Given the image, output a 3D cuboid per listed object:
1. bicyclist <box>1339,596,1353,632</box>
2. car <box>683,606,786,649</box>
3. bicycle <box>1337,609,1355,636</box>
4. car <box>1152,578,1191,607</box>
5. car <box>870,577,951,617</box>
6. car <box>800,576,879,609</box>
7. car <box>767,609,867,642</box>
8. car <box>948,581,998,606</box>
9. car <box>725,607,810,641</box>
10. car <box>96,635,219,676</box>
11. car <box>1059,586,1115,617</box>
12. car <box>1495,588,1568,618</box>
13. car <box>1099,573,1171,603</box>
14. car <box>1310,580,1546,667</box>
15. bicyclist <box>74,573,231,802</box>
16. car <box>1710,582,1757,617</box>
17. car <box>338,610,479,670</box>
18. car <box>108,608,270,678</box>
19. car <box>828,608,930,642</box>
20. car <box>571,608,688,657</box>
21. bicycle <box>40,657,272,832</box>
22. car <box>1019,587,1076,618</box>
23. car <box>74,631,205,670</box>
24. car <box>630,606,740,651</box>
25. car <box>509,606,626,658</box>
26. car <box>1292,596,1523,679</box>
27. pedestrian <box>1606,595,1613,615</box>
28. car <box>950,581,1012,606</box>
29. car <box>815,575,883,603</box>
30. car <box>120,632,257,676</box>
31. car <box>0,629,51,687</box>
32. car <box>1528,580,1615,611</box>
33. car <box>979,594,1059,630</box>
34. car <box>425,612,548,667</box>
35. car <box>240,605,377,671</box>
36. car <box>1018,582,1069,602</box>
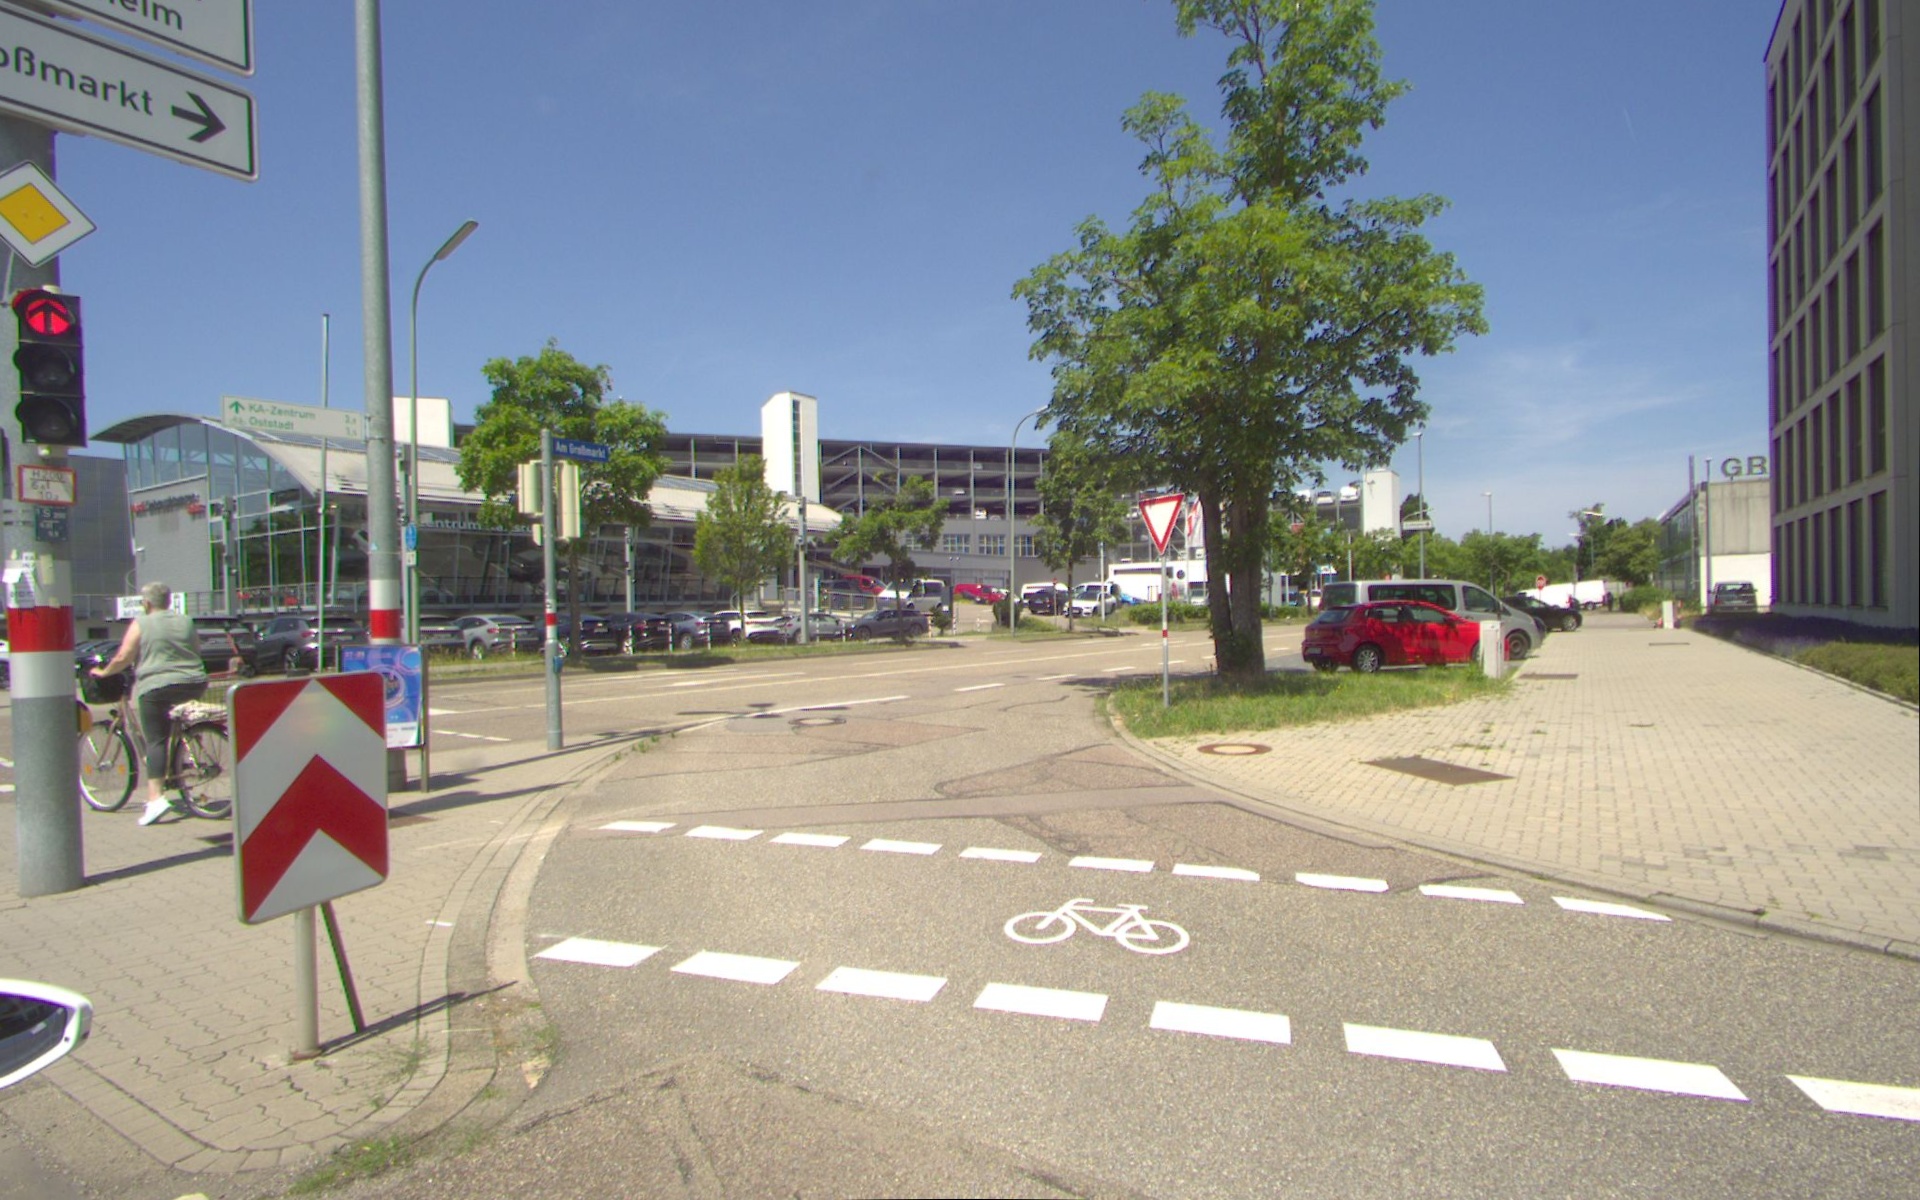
[{"bbox_3d":[16.114,0.576,41.778,0.449,1.490,0.714,-1,1,29],"label":"bicyclist"},{"bbox_3d":[-9.281,1.177,41.181,3.937,1.675,1.844,-1,-3,28],"label":"car"},{"bbox_3d":[16.152,0.948,41.845,0.462,1.079,1.782,-1,0,29],"label":"bicycle"},{"bbox_3d":[16.435,-0.545,77.710,1.812,2.039,3.981,-1,-2,31],"label":"car"},{"bbox_3d":[-2.604,-0.157,54.094,1.885,1.992,5.228,-1,0,29],"label":"car"},{"bbox_3d":[-6.742,-0.423,56.637,1.888,1.730,4.560,-1,0,35],"label":"car"},{"bbox_3d":[-7.081,1.254,49.761,4.527,1.491,1.902,-1,0,-34],"label":"car"},{"bbox_3d":[0.984,-0.451,74.527,1.859,1.728,3.977,-1,-1,33],"label":"car"},{"bbox_3d":[-9.955,1.221,51.692,3.938,1.591,1.842,-1,0,-28],"label":"car"},{"bbox_3d":[-32.997,2.279,41.264,1.619,1.600,3.642,-1,-3,32],"label":"car"},{"bbox_3d":[7.652,0.143,60.200,1.970,1.727,3.983,-1,-2,30],"label":"car"},{"bbox_3d":[41.491,0.262,72.686,4.513,2.039,1.990,-1,-2,33],"label":"car"},{"bbox_3d":[12.005,-0.775,68.856,4.521,1.912,1.904,-1,0,31],"label":"car"},{"bbox_3d":[10.876,0.514,23.387,4.841,1.911,1.918,0,0,-12],"label":"car"},{"bbox_3d":[-6.121,0.639,7.601,0.812,1.626,0.628,-1,-1,26],"label":"bicyclist"},{"bbox_3d":[42.226,0.021,54.754,1.772,1.750,3.978,-1,-2,34],"label":"car"},{"bbox_3d":[-16.515,1.208,29.983,3.937,1.675,1.844,-1,-3,28],"label":"car"},{"bbox_3d":[-19.536,1.112,25.333,4.442,1.578,1.863,-3,0,33],"label":"car"},{"bbox_3d":[-3.838,1.166,47.675,4.554,1.491,1.839,-1,0,-34],"label":"car"},{"bbox_3d":[-12.077,1.215,36.588,3.937,1.675,1.844,-1,-3,28],"label":"car"},{"bbox_3d":[-6.108,1.035,7.592,1.864,1.148,0.628,0,-1,26],"label":"bicycle"},{"bbox_3d":[5.400,0.187,61.272,1.970,1.727,3.983,-1,-2,30],"label":"car"},{"bbox_3d":[-34.657,2.126,42.412,1.610,1.593,3.977,-1,-3,32],"label":"car"},{"bbox_3d":[-10.697,1.134,38.908,3.937,1.675,1.844,-1,-3,28],"label":"car"},{"bbox_3d":[-13.426,1.091,34.212,3.851,1.676,1.627,-1,-1,28],"label":"car"},{"bbox_3d":[8.954,0.728,20.184,3.923,1.451,1.699,-2,-1,-7],"label":"car"},{"bbox_3d":[51.882,0.368,79.997,0.399,1.580,0.546,-1,1,33],"label":"pedestrian"},{"bbox_3d":[1.651,-0.487,78.011,4.525,1.821,1.903,-1,0,34],"label":"car"},{"bbox_3d":[-7.332,-0.707,66.231,4.082,1.745,1.907,-1,0,25],"label":"car"},{"bbox_3d":[-30.492,2.129,39.686,1.633,1.642,3.980,-1,-3,32],"label":"car"},{"bbox_3d":[-25.162,1.401,24.091,1.843,1.407,4.583,-2,-3,34],"label":"car"},{"bbox_3d":[55.037,-0.349,90.201,6.606,2.552,2.206,-1,-2,35],"label":"car"},{"bbox_3d":[3.030,0.556,50.306,1.888,1.717,4.560,-1,0,35],"label":"car"},{"bbox_3d":[-15.039,1.205,31.778,3.758,1.637,1.635,0,0,28],"label":"car"},{"bbox_3d":[-17.881,1.091,27.463,3.947,1.674,1.840,-3,-4,35],"label":"car"},{"bbox_3d":[7.716,-0.733,92.285,4.294,1.674,1.904,-1,0,31],"label":"car"}]
